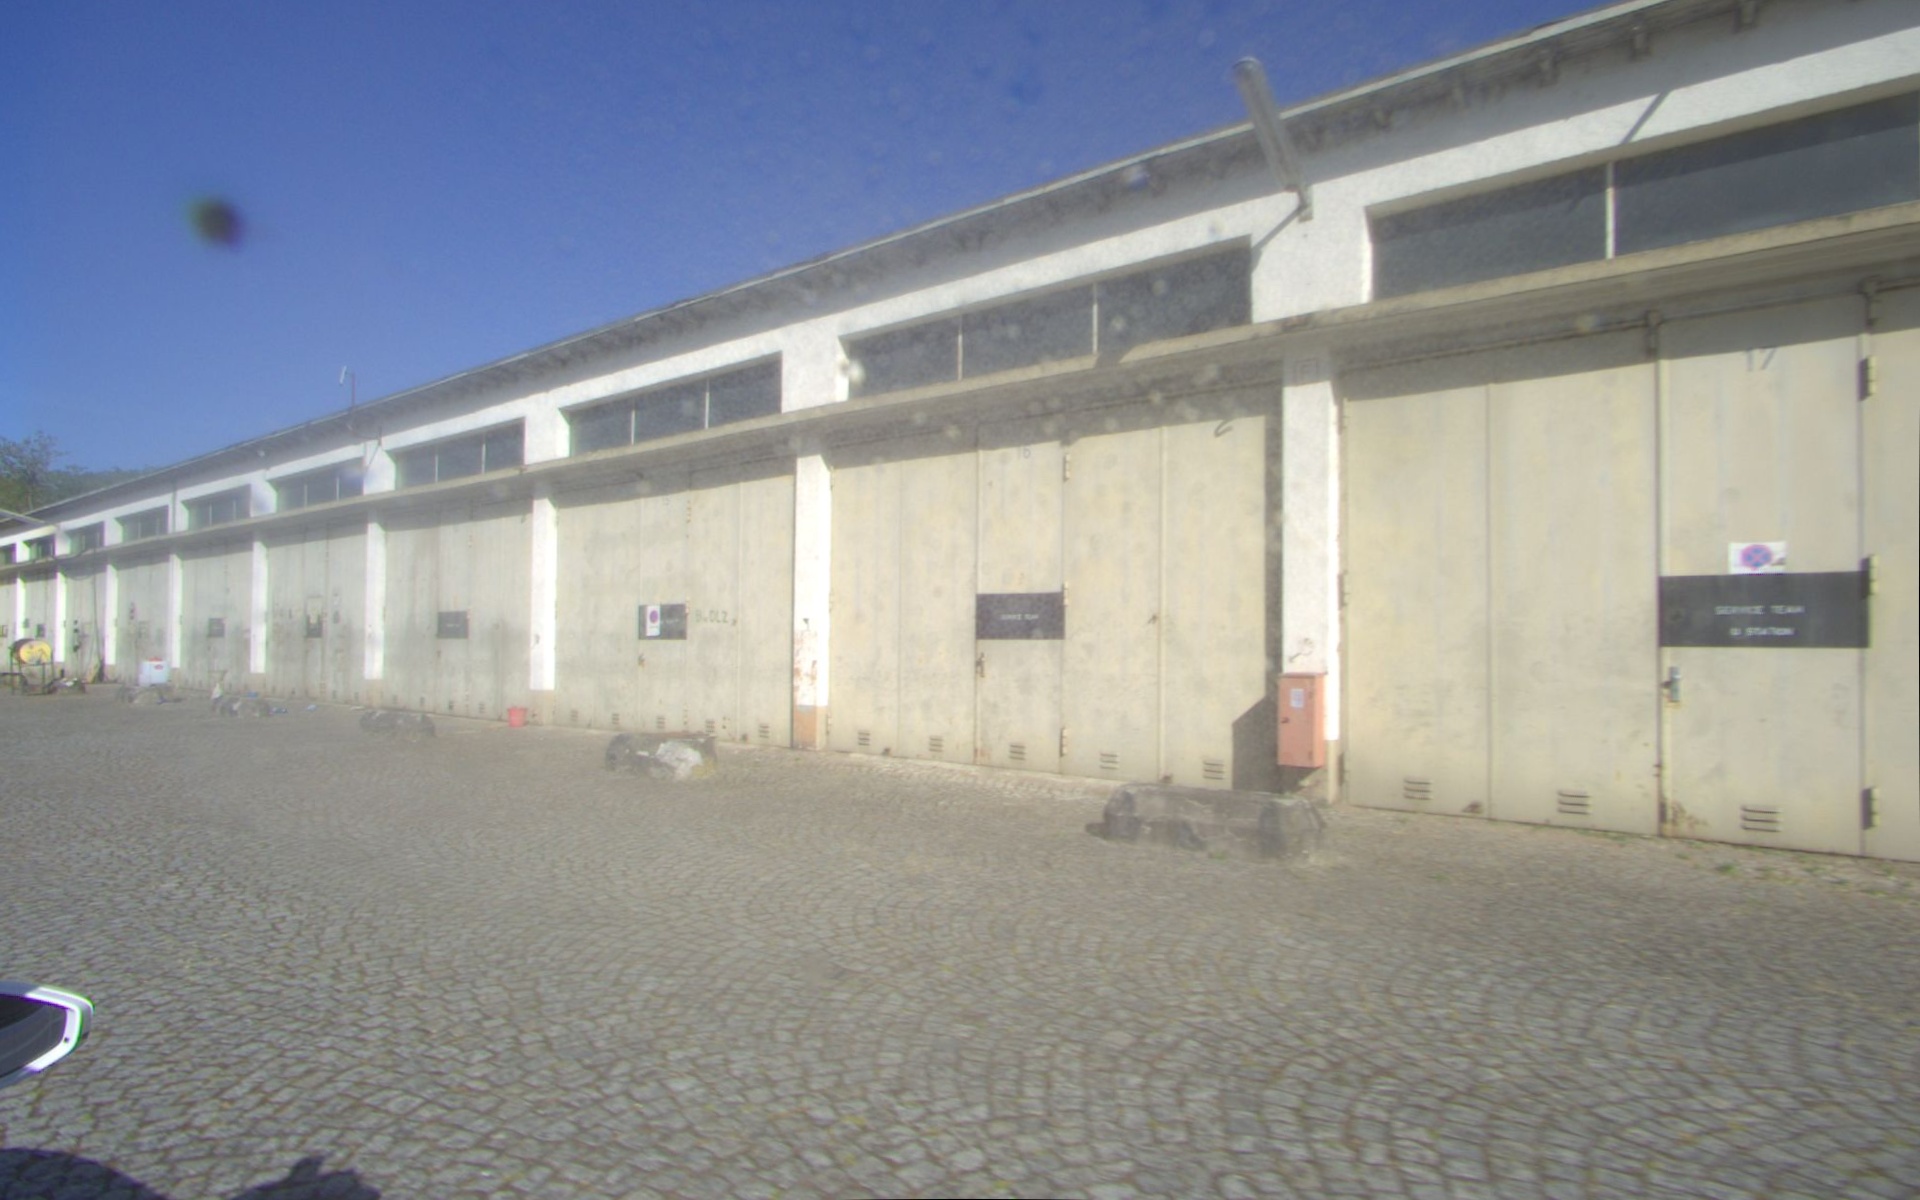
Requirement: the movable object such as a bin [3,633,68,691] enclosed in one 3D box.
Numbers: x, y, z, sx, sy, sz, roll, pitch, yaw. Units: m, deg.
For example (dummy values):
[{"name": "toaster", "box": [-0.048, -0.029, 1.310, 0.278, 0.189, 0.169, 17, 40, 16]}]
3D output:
[{"name": "movable object such as a bin", "box": [-22.294, 1.482, 24.139, 1.262, 1.348, 0.822, -1, -3, 32]}]
